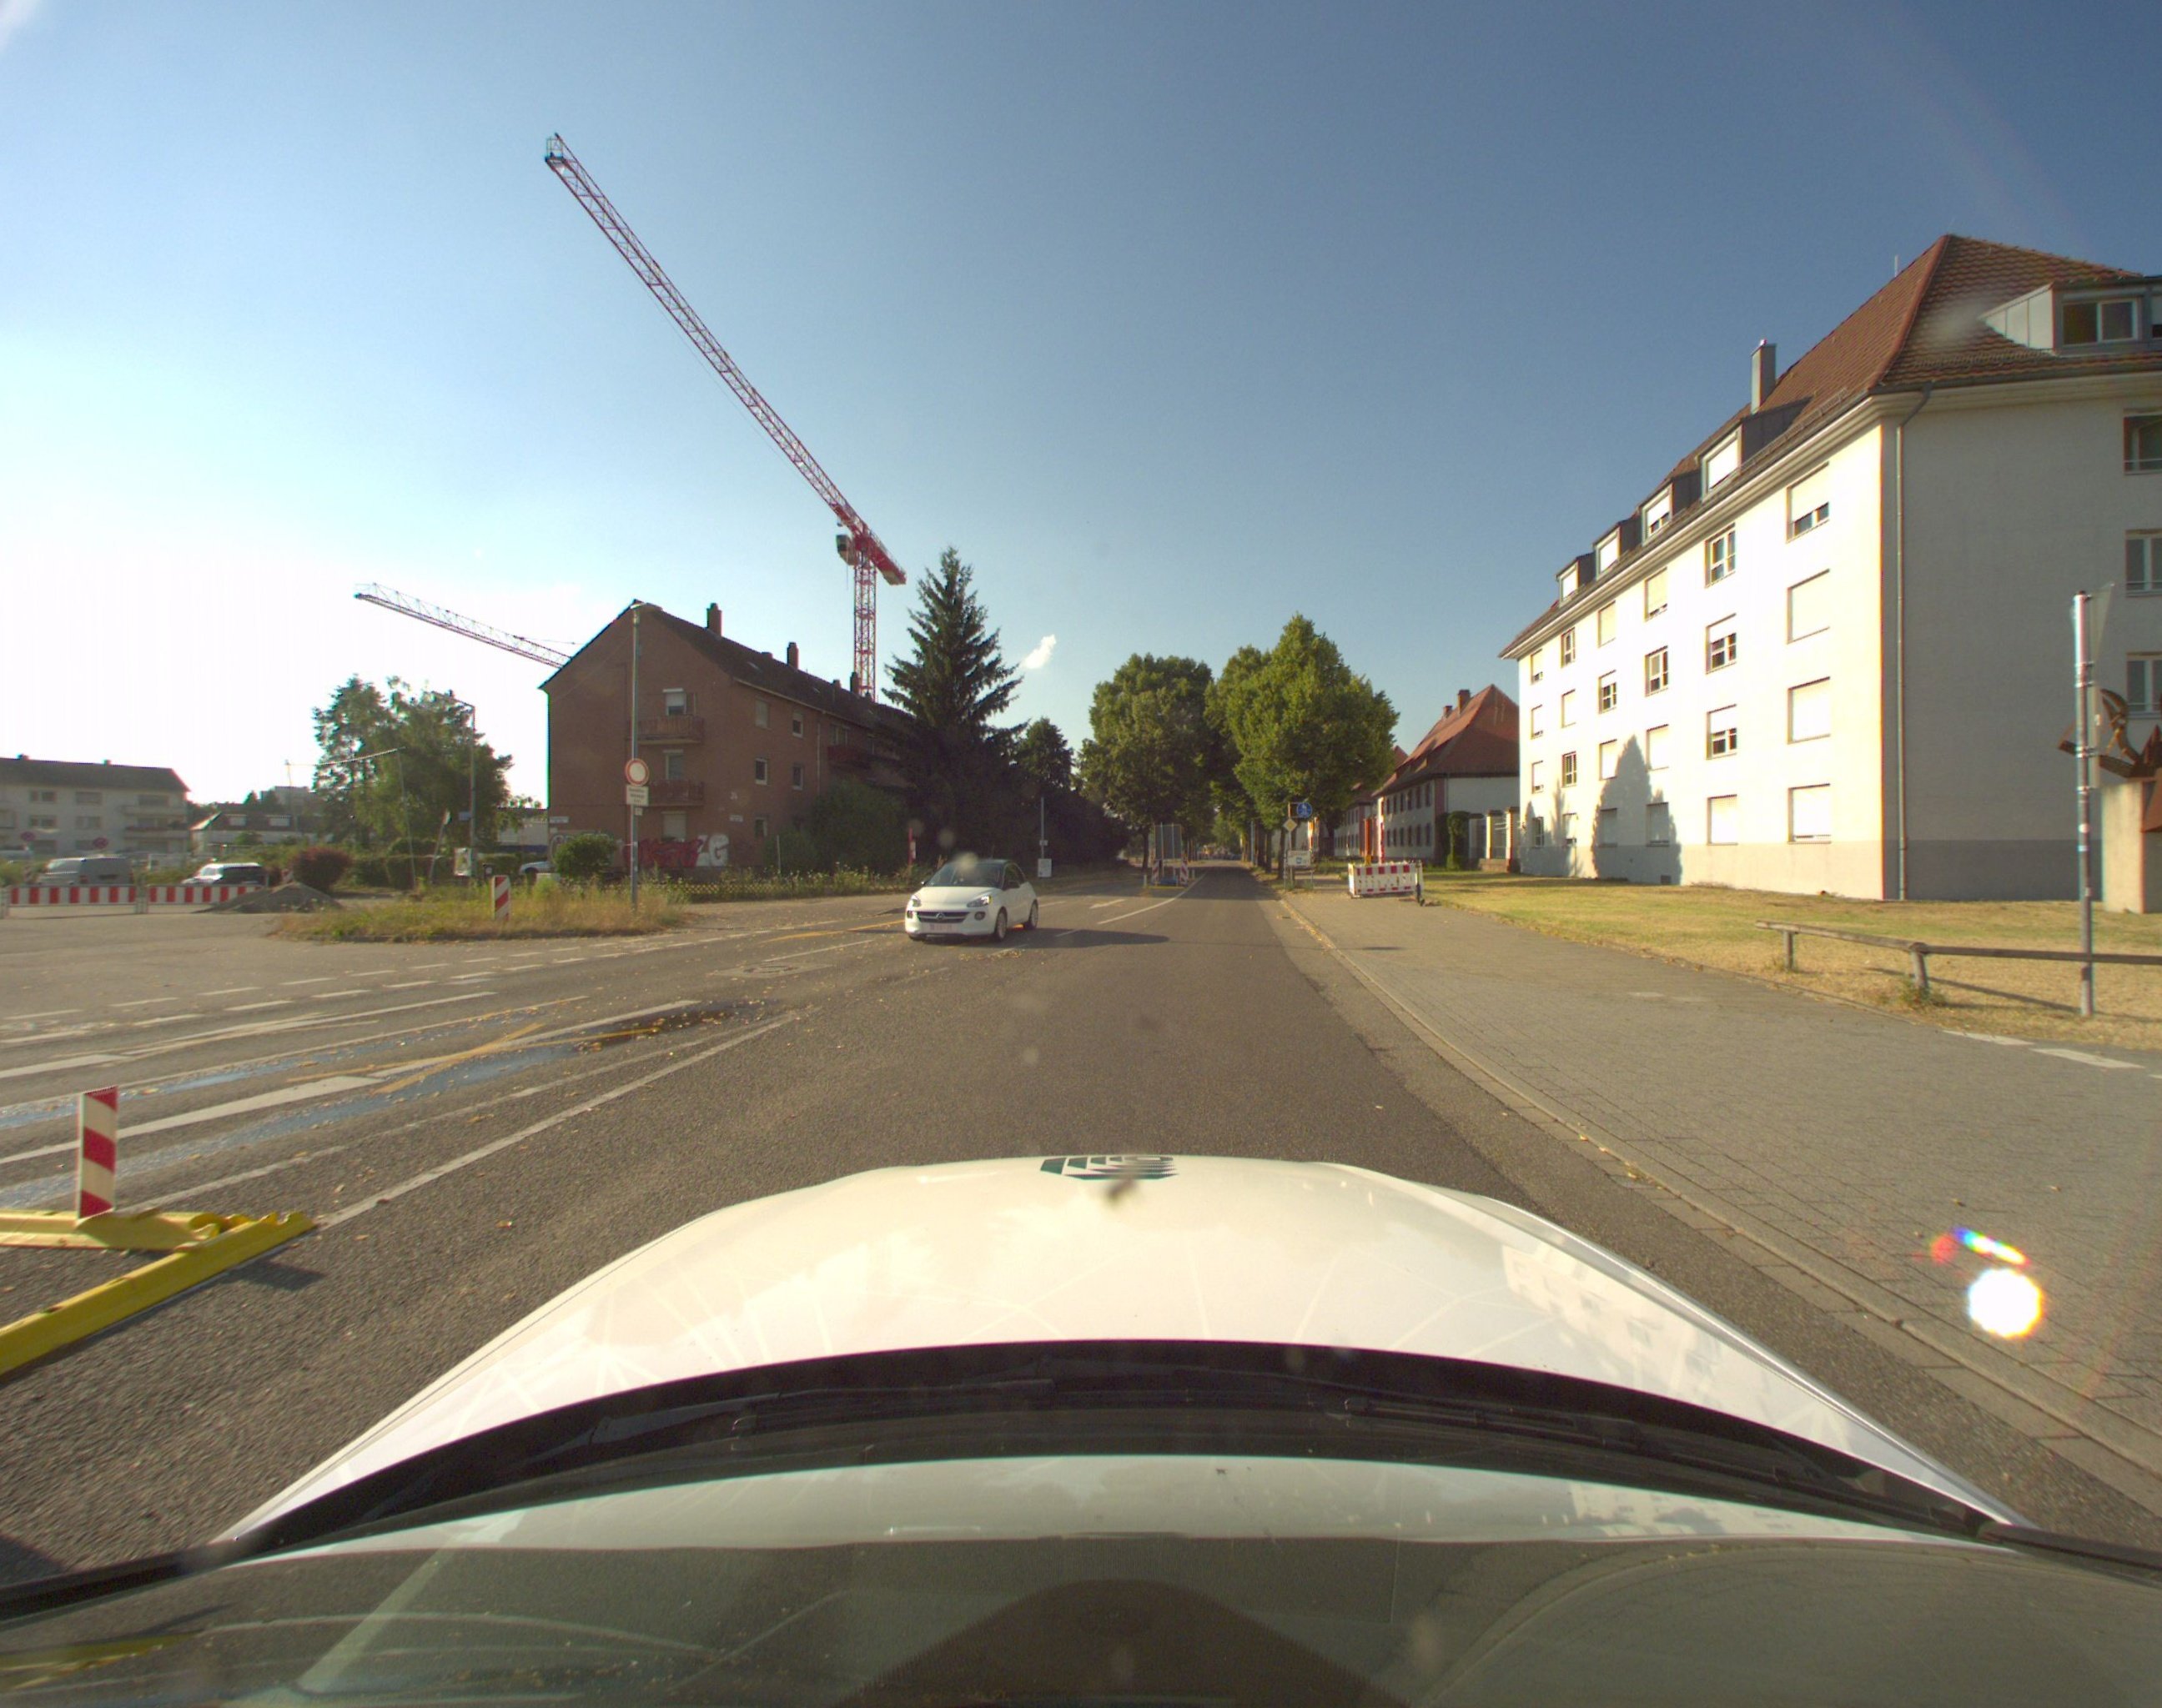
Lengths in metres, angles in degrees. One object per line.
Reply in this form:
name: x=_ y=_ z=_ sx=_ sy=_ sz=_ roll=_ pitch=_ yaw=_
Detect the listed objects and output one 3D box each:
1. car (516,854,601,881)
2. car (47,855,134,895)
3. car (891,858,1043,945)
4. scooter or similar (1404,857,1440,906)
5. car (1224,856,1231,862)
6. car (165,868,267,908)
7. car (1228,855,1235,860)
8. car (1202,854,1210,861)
car: x=-31.585 y=0.793 z=49.335 sx=4.003 sy=1.530 sz=1.985 roll=0 pitch=0 yaw=-23
car: x=-50.169 y=1.040 z=41.249 sx=3.951 sy=1.948 sz=1.879 roll=0 pitch=0 yaw=25
car: x=-2.011 y=0.793 z=15.422 sx=1.747 sy=1.421 sz=3.636 roll=0 pitch=0 yaw=11
scooter or similar: x=9.564 y=0.748 z=22.871 sx=0.555 sy=1.292 sz=1.467 roll=-4 pitch=-1 yaw=10
car: x=41.123 y=1.391 z=229.232 sx=1.705 sy=1.486 sz=4.007 roll=-1 pitch=-1 yaw=7
car: x=-36.215 y=1.379 z=34.076 sx=3.949 sy=1.552 sz=2.012 roll=0 pitch=0 yaw=29
car: x=46.166 y=1.134 z=249.591 sx=1.831 sy=1.386 sz=4.008 roll=-1 pitch=-1 yaw=7
car: x=34.881 y=0.940 z=227.294 sx=1.984 sy=1.688 sz=4.005 roll=-1 pitch=-1 yaw=5
